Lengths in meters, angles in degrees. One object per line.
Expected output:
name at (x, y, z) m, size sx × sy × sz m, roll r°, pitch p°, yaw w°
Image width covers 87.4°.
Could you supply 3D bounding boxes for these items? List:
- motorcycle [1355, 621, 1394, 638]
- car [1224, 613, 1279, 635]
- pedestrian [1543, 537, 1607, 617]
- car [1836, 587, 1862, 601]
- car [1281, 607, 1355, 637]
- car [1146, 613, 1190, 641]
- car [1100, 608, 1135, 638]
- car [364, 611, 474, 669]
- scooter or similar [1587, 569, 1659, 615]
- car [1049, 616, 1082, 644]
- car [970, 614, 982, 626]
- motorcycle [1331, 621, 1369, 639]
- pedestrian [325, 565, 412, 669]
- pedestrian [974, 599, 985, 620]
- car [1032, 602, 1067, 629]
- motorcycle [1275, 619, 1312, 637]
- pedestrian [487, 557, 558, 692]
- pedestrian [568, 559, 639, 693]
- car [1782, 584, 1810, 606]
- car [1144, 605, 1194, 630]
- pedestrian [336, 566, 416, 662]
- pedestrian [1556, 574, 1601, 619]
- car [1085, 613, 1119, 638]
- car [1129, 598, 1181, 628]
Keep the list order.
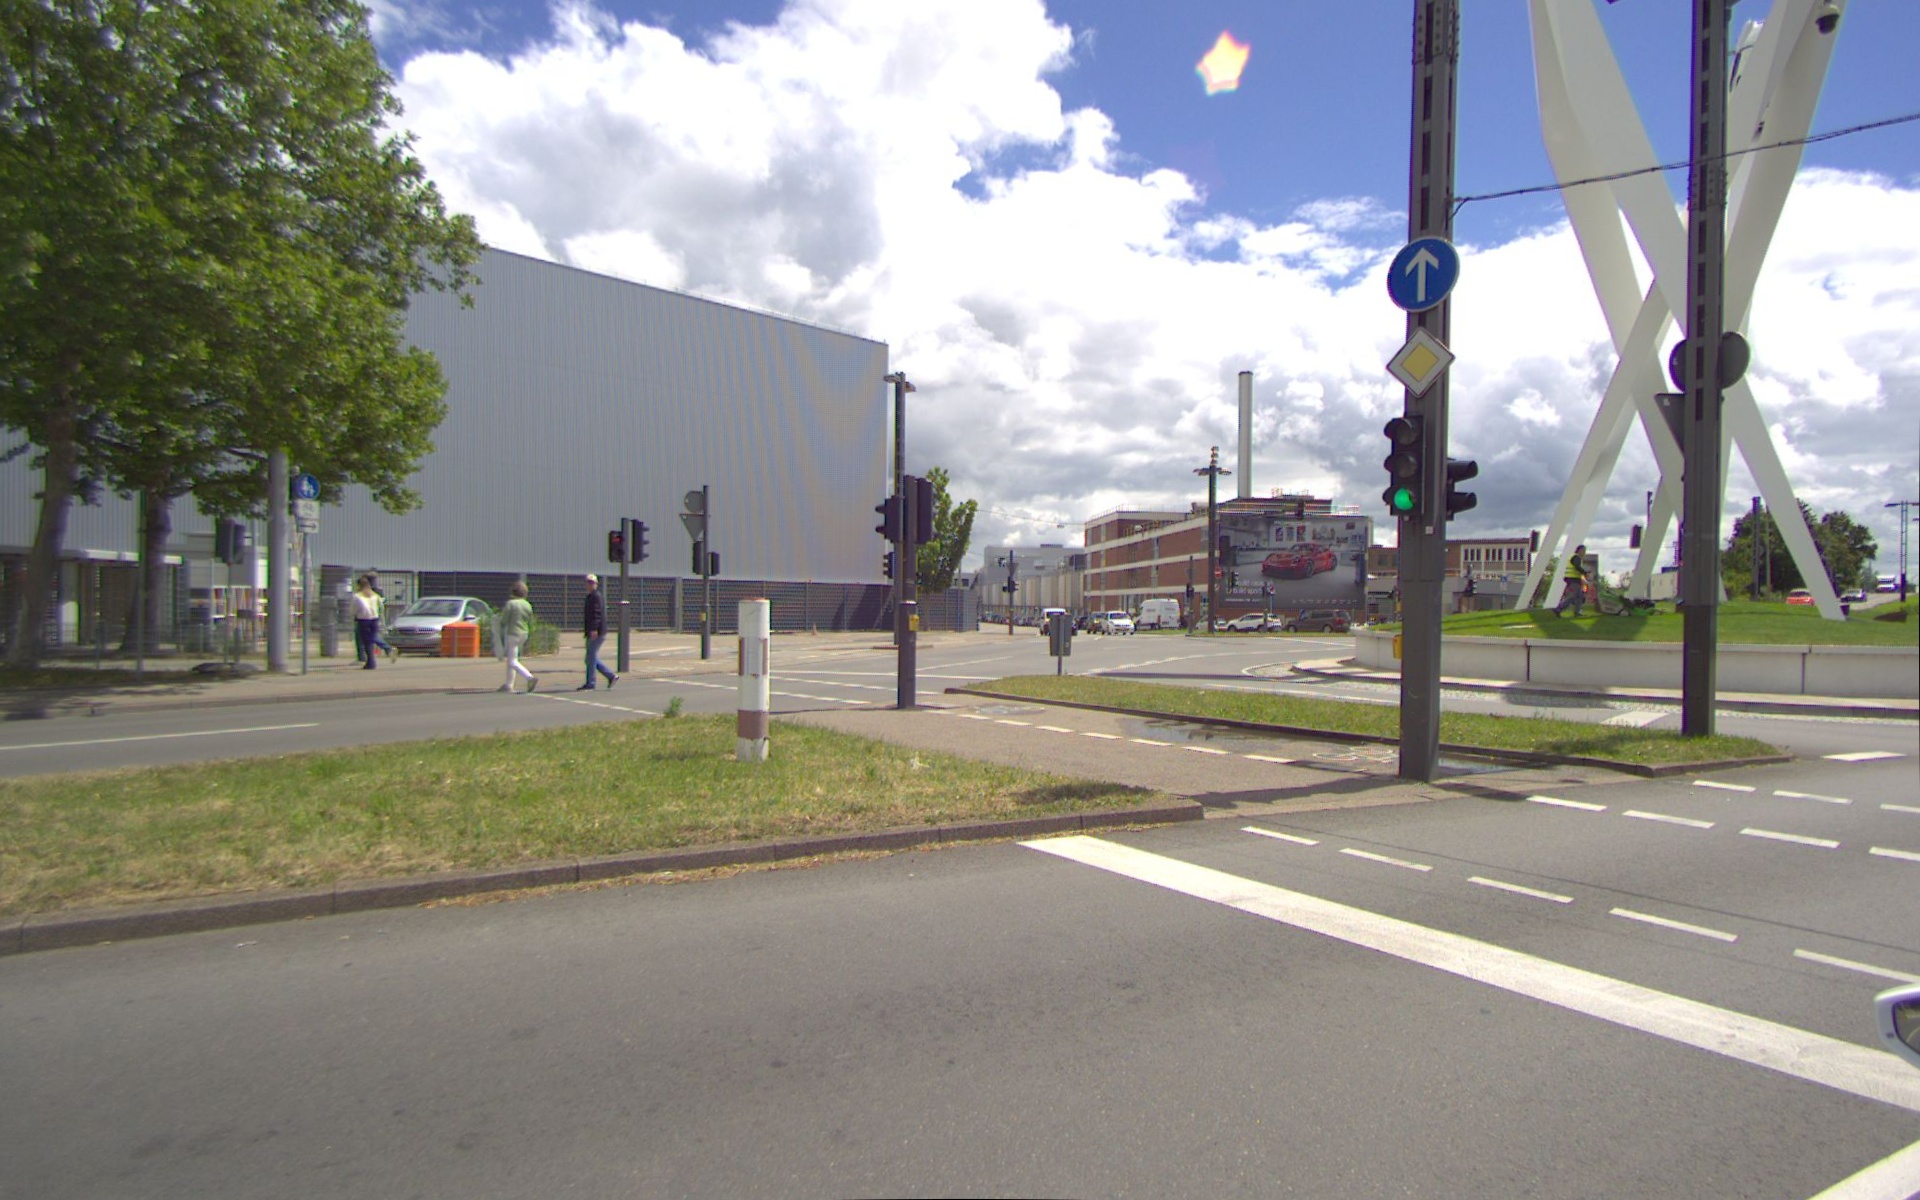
motorcycle at (32.550, 2.309, 78.933) m, size 0.908 × 1.211 × 2.894 m, roll 2°, pitch 0°, yaw -25°
car at (22.316, 1.817, 77.060) m, size 1.972 × 1.520 × 3.977 m, roll 2°, pitch 0°, yaw -23°
pedestrian at (14.850, -0.549, 24.285) m, size 1.263 × 1.841 × 0.984 m, roll -1°, pitch 2°, yaw 30°
car at (98.938, -0.662, 111.805) m, size 4.639 × 1.417 × 1.738 m, roll -2°, pitch 3°, yaw -43°
car at (22.635, 1.367, 63.632) m, size 1.983 × 1.658 × 3.956 m, roll 2°, pitch 0°, yaw -38°
car at (13.424, 1.716, 65.016) m, size 1.961 × 1.598 × 4.000 m, roll 2°, pitch 0°, yaw 0°
car at (10.145, 1.459, 64.903) m, size 1.874 × 1.820 × 3.777 m, roll 2°, pitch 0°, yaw 4°
car at (-13.979, 0.980, 26.179) m, size 1.692 × 1.377 × 3.987 m, roll 0°, pitch -1°, yaw -16°
scooter or similar at (15.788, -0.193, 23.941) m, size 1.379 × 1.040 × 0.549 m, roll -1°, pitch 4°, yaw 28°
car at (6.659, 1.856, 63.608) m, size 1.767 × 1.577 × 3.959 m, roll 2°, pitch 0°, yaw 2°
car at (3.155, 3.897, 196.526) m, size 1.962 × 2.199 × 4.652 m, roll 2°, pitch 0°, yaw -4°
motorcycle at (30.235, 2.336, 77.937) m, size 0.908 × 1.211 × 2.894 m, roll 2°, pitch 0°, yaw -25°
pedestrian at (-10.648, 0.303, 18.099) m, size 0.851 × 1.797 × 1.033 m, roll 3°, pitch 0°, yaw 33°
pedestrian at (1.710, 0.845, 87.092) m, size 0.737 × 1.795 × 0.825 m, roll 2°, pitch 0°, yaw -7°
car at (6.085, 1.026, 68.692) m, size 1.961 × 1.645 × 4.291 m, roll 2°, pitch 0°, yaw 0°
motorcycle at (25.401, 2.135, 76.613) m, size 0.908 × 1.211 × 2.894 m, roll 2°, pitch 0°, yaw -25°
pedestrian at (-7.011, 0.384, 16.105) m, size 0.938 × 2.082 × 0.949 m, roll 2°, pitch 0°, yaw -25°
pedestrian at (-5.792, 0.418, 16.298) m, size 0.938 × 2.082 × 0.949 m, roll 2°, pitch 0°, yaw -25°
car at (78.191, -0.425, 93.939) m, size 1.970 × 2.010 × 4.812 m, roll 0°, pitch 0°, yaw 41°
car at (17.827, 1.470, 85.927) m, size 2.175 × 1.882 × 4.498 m, roll 2°, pitch 0°, yaw -19°
pedestrian at (-11.361, 0.264, 19.553) m, size 0.851 × 1.797 × 1.033 m, roll 3°, pitch 0°, yaw 33°
pedestrian at (21.096, -0.109, 34.255) m, size 0.951 × 1.424 × 0.852 m, roll 2°, pitch -6°, yaw -21°
car at (10.286, 1.840, 73.107) m, size 1.789 × 1.577 × 4.224 m, roll 2°, pitch 0°, yaw -1°
car at (15.393, 0.989, 79.595) m, size 1.969 × 2.199 × 4.634 m, roll 2°, pitch 0°, yaw -19°
